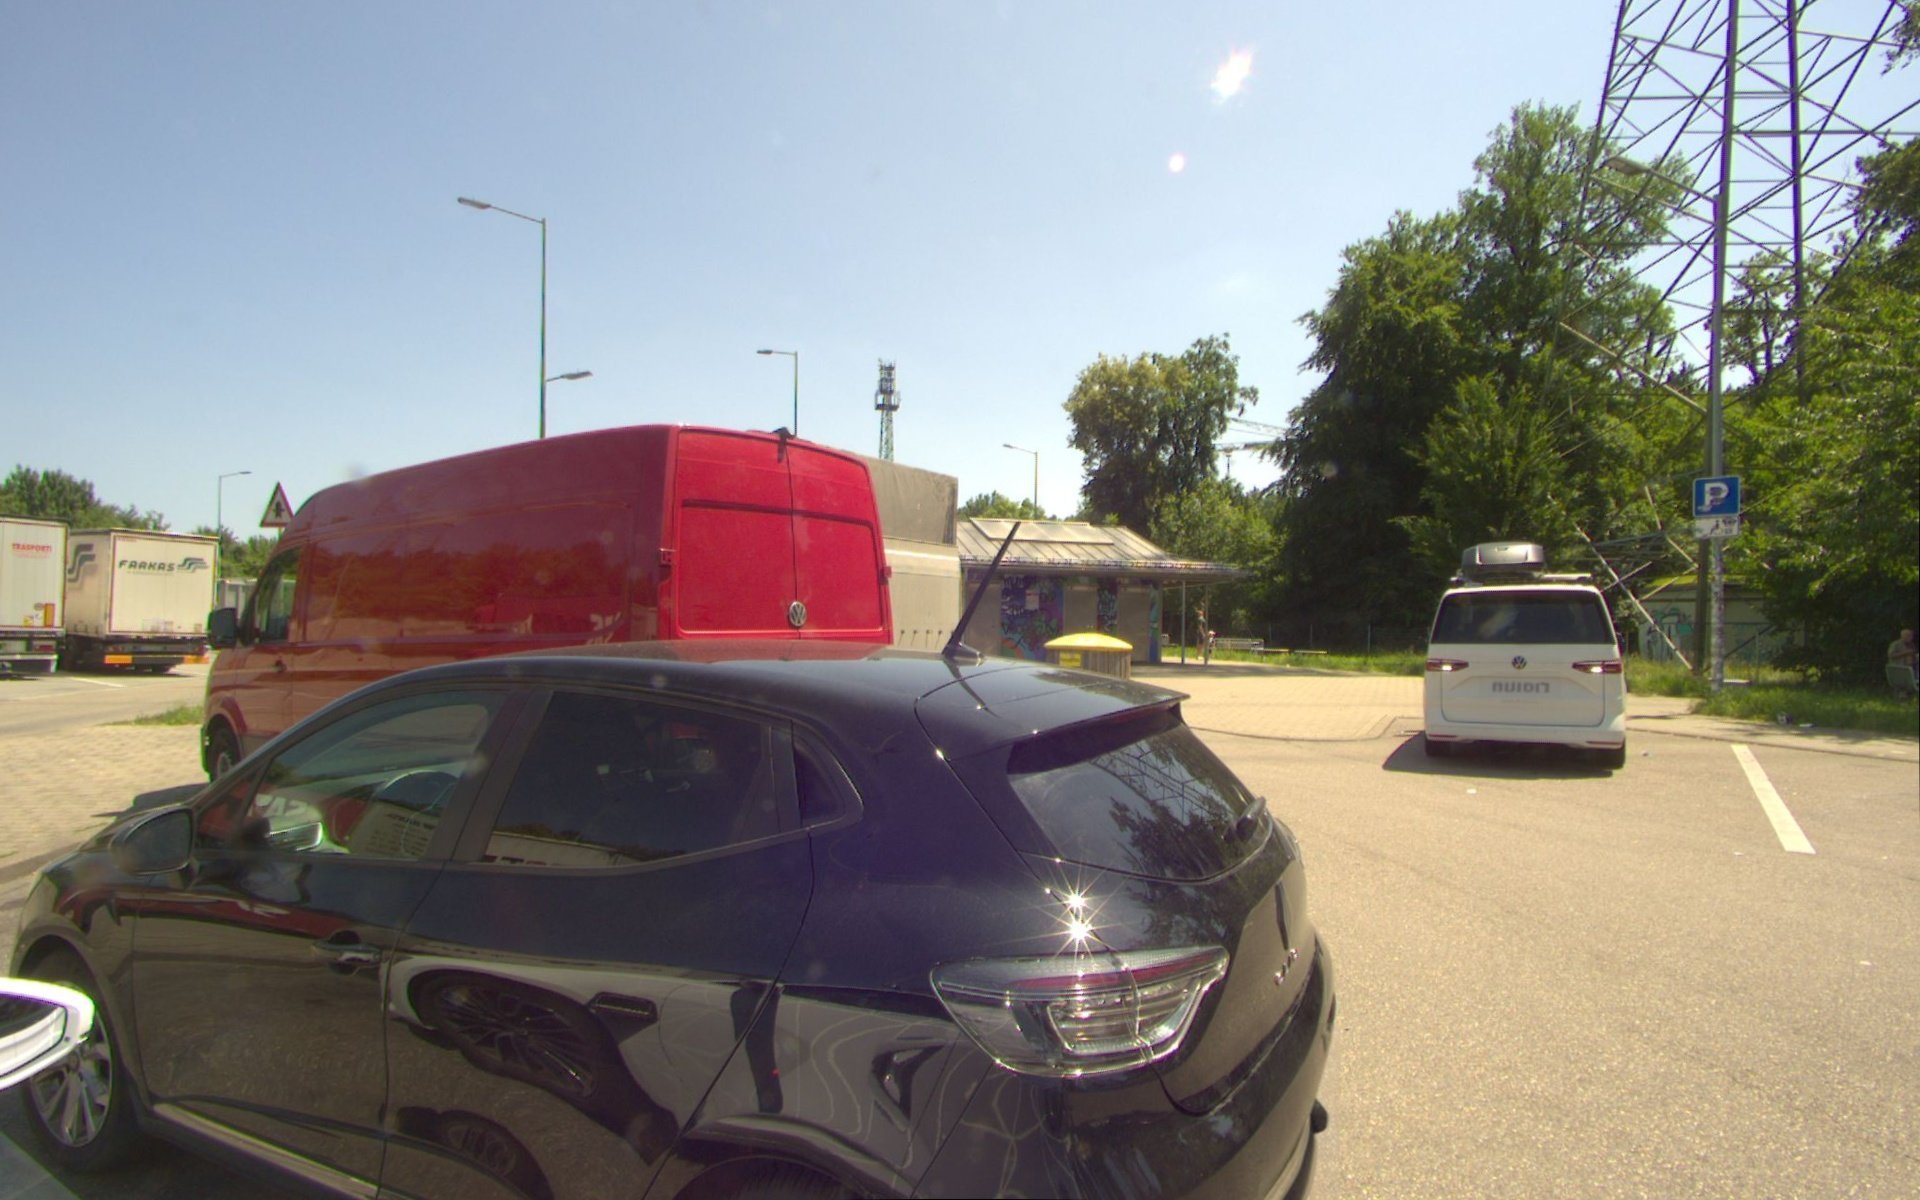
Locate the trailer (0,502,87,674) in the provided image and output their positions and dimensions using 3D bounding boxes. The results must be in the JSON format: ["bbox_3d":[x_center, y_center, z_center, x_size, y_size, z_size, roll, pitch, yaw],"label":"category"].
[{"bbox_3d":[-28.973,-0.371,28.144,13.523,4.185,2.835,1,-2,33],"label":"trailer"}]

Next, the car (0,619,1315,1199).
[{"bbox_3d":[-1.067,0.839,2.901,3.757,1.501,1.736,0,-1,27],"label":"car"}]

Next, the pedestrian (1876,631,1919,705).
[{"bbox_3d":[18.530,1.322,19.671,0.660,1.422,0.647,-1,-1,33],"label":"pedestrian"}]

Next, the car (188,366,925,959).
[{"bbox_3d":[-3.359,0.313,7.353,6.310,2.731,2.060,0,-1,37],"label":"car"}]

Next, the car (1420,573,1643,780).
[{"bbox_3d":[6.518,0.773,11.837,1.881,1.937,4.549,-1,-1,26],"label":"car"}]

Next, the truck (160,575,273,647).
[{"bbox_3d":[-37.699,0.565,50.735,5.405,3.407,2.847,1,-2,34],"label":"truck"}]

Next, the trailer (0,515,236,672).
[{"bbox_3d":[-27.665,-0.192,31.625,13.523,4.185,2.835,1,-2,33],"label":"trailer"}]

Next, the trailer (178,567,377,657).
[{"bbox_3d":[-32.390,0.482,47.135,13.530,3.764,2.834,1,-2,34],"label":"trailer"}]

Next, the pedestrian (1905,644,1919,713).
[{"bbox_3d":[17.185,1.360,17.471,0.876,1.192,0.666,-1,-2,32],"label":"pedestrian"}]

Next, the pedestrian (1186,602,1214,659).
[{"bbox_3d":[8.825,1.113,36.854,0.764,2.067,0.645,0,-1,-16],"label":"pedestrian"}]

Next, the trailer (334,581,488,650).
[{"bbox_3d":[-36.054,0.911,65.428,13.530,4.101,2.834,1,-2,34],"label":"trailer"}]

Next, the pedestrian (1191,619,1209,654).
[{"bbox_3d":[10.916,1.656,45.483,0.634,1.547,0.565,0,-1,-8],"label":"pedestrian"}]

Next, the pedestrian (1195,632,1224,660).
[{"bbox_3d":[8.875,1.638,35.612,0.764,0.960,0.645,0,-1,-16],"label":"pedestrian"}]
